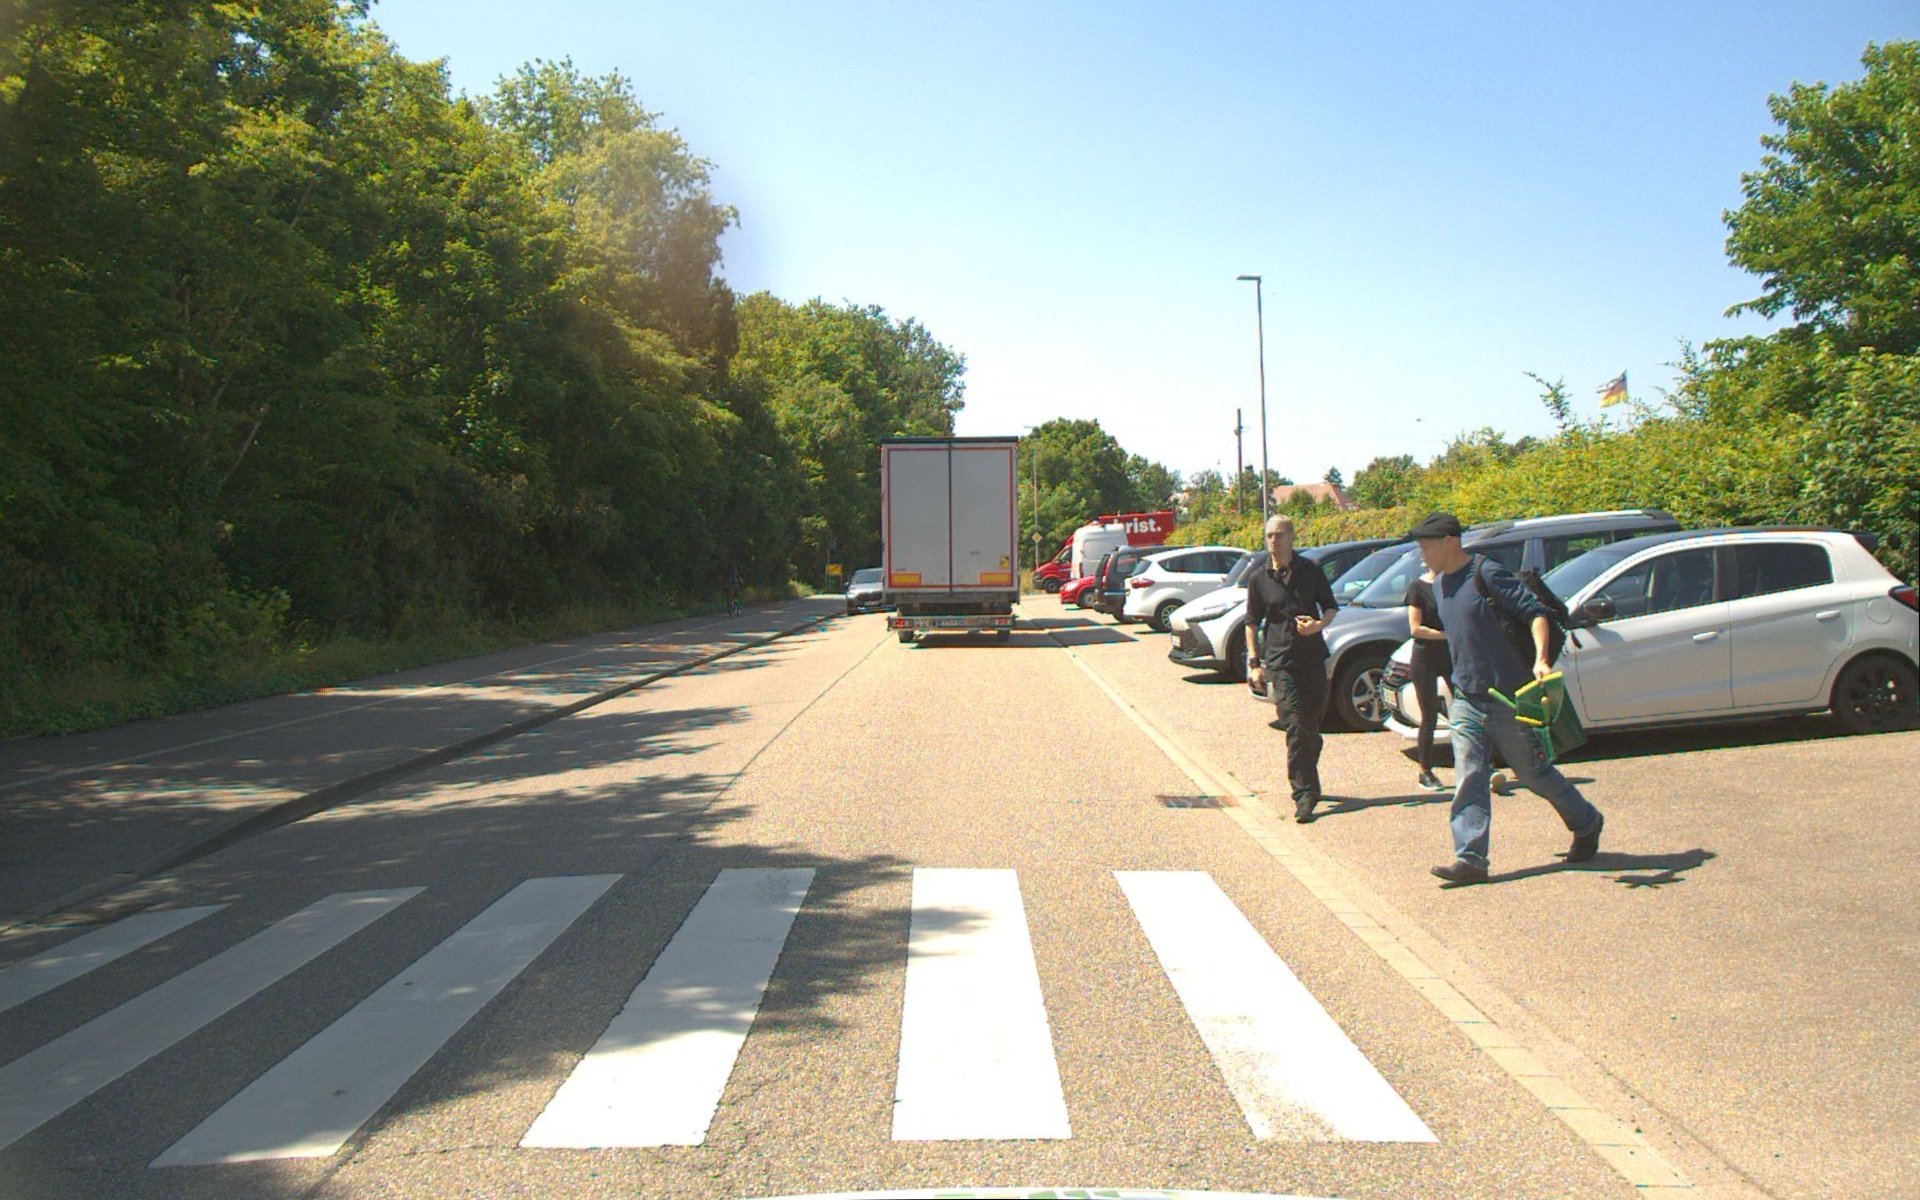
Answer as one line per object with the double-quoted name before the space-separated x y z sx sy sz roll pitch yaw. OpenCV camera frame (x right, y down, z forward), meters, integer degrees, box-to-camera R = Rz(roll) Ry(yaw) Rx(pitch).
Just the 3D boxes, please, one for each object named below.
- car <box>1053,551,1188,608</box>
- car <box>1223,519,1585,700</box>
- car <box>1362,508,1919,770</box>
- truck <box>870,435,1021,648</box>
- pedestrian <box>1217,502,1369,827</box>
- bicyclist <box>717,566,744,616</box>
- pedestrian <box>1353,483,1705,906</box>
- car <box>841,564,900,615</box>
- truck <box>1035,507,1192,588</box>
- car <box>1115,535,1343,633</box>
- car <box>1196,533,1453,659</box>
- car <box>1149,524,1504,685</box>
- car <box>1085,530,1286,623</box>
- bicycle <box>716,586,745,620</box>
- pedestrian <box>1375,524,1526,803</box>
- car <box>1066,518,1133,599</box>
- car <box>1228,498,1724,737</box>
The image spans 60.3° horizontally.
"car" 5.049 -0.656 52.385 3.974 1.458 1.835 -5 1 -3
"car" 4.764 0.074 17.995 3.387 1.553 1.538 -6 2 -5
"car" 4.994 0.246 12.190 3.613 1.475 1.611 -5 2 3
"truck" -0.172 -1.205 36.599 2.677 3.811 13.248 -1 1 1
"pedestrian" 2.099 0.370 10.325 0.765 1.896 1.087 -3 1 15
"bicyclist" -7.482 -0.309 53.923 0.635 1.592 0.837 -2 1 4
"pedestrian" 2.701 0.400 7.868 1.146 1.781 1.010 -5 1 -36
"car" -3.159 -0.413 59.193 1.853 1.558 4.196 -6 1 -1
"truck" 7.184 -2.453 76.995 6.984 3.499 2.333 -2 2 11
"car" 5.372 -0.342 33.314 4.191 1.605 1.765 -5 1 -2
"car" 5.192 -0.084 23.861 3.317 1.529 1.589 -4 2 3
"car" 4.545 0.023 20.861 3.888 1.549 1.862 -6 2 -6
"car" 5.340 -0.562 39.523 4.366 1.836 1.951 -5 1 -4
"bicycle" -7.468 0.081 53.925 0.549 1.045 1.840 -2 1 4
"pedestrian" 3.071 0.375 10.418 0.762 1.639 0.897 -4 1 15
"car" 5.238 -1.590 62.954 1.914 2.780 7.169 -4 2 1
"car" 4.609 0.121 15.068 3.885 1.668 1.662 -6 2 -6
